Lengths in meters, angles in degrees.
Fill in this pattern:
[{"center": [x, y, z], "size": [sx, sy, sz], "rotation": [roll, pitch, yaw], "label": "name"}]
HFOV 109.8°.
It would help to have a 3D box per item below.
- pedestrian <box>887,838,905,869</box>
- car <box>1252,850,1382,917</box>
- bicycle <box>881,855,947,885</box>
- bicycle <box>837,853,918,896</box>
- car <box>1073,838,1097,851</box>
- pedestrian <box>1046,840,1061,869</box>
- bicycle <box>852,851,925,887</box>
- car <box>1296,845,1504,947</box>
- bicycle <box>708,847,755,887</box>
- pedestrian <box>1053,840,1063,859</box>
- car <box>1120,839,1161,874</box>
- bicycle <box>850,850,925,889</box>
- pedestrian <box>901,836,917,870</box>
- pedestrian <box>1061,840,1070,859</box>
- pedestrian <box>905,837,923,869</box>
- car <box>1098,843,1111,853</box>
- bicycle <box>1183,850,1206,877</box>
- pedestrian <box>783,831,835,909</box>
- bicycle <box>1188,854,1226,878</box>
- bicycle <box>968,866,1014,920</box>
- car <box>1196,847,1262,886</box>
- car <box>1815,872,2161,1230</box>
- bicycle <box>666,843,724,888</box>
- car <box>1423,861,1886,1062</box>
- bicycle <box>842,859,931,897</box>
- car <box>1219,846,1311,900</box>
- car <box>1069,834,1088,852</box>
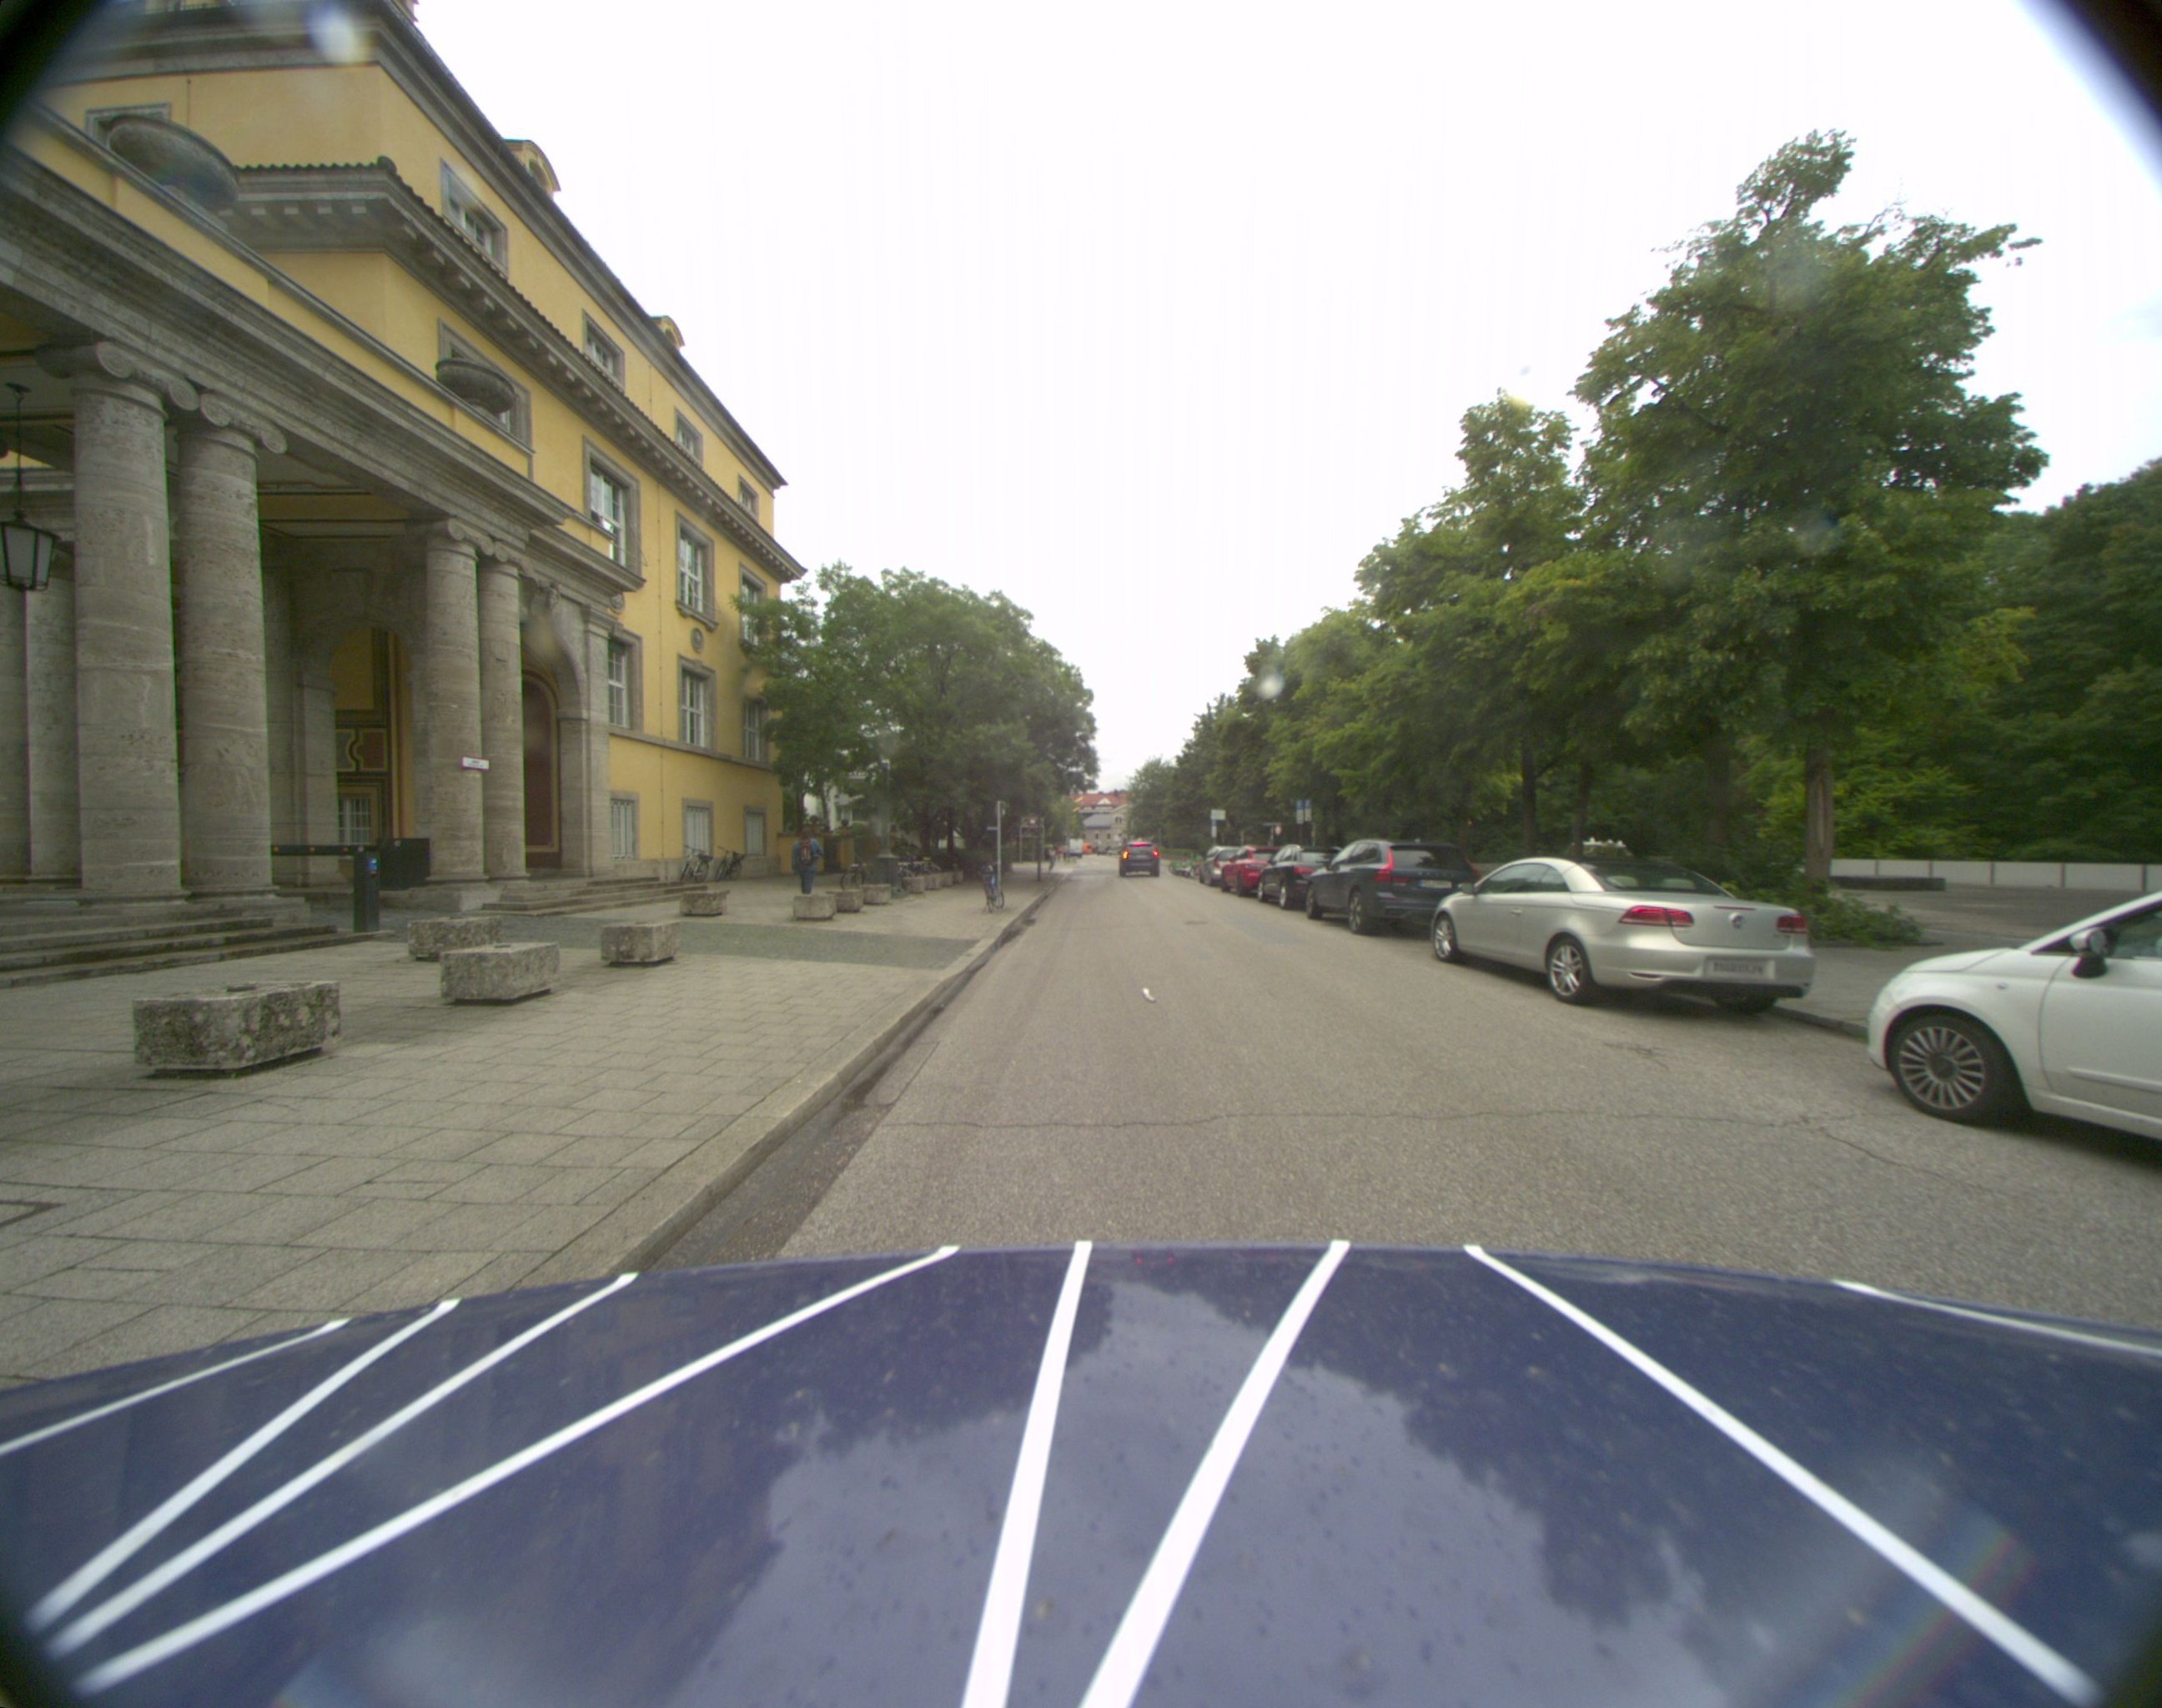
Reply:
[{"center": [-10.373, -0.033, 42.691], "size": [0.741, 1.734, 0.841], "rotation": [3, 2, 1], "label": "pedestrian"}, {"center": [5.822, 0.647, 19.384], "size": [1.998, 1.452, 4.647], "rotation": [0, 1, 2], "label": "car"}, {"center": [-6.152, 0.579, 27.980], "size": [2.261, 1.005, 0.602], "rotation": [2, 1, 3], "label": "bicycle"}, {"center": [-6.158, 0.627, 23.105], "size": [2.265, 1.088, 0.601], "rotation": [5, 1, -10], "label": "bicycle"}, {"center": [0.867, -2.142, 169.242], "size": [4.973, 2.521, 2.577], "rotation": [-1, 2, 44], "label": "car"}, {"center": [-1.680, 0.028, 46.237], "size": [0.798, 1.722, 0.660], "rotation": [-3, 2, 0], "label": "pedestrian"}, {"center": [-6.523, 0.499, 25.829], "size": [2.265, 1.018, 0.601], "rotation": [5, 1, -10], "label": "bicycle"}, {"center": [5.589, 0.618, 14.058], "size": [1.998, 1.574, 4.521], "rotation": [0, 1, 1], "label": "car"}, {"center": [-11.953, 0.403, 26.074], "size": [0.601, 1.299, 2.164], "rotation": [0, 1, 1], "label": "bicycle"}, {"center": [-2.334, -0.437, 76.932], "size": [0.777, 1.855, 0.996], "rotation": [-3, 2, -7], "label": "pedestrian"}, {"center": [3.067, 0.094, 39.353], "size": [1.964, 1.672, 4.912], "rotation": [2, 1, 4], "label": "car"}, {"center": [-6.317, 0.506, 24.913], "size": [2.265, 1.053, 0.601], "rotation": [5, 1, -10], "label": "bicycle"}, {"center": [-9.657, -0.066, 42.671], "size": [0.659, 1.855, 0.820], "rotation": [3, 2, 1], "label": "pedestrian"}, {"center": [-1.551, -0.465, 77.128], "size": [0.777, 1.855, 0.997], "rotation": [-3, 2, -5], "label": "pedestrian"}, {"center": [-10.049, -0.078, 45.679], "size": [0.782, 1.855, 1.035], "rotation": [3, 2, 1], "label": "pedestrian"}, {"center": [4.641, -1.261, 150.722], "size": [2.222, 1.840, 4.730], "rotation": [-3, 2, 1], "label": "car"}, {"center": [5.666, 0.480, 37.797], "size": [0.574, 1.275, 1.421], "rotation": [-1, 1, 34], "label": "bicycle"}, {"center": [-6.212, 0.345, 17.391], "size": [0.790, 1.736, 1.055], "rotation": [0, 1, 1], "label": "pedestrian"}, {"center": [5.995, 0.578, 36.266], "size": [1.700, 1.101, 0.598], "rotation": [-1, 2, -7], "label": "bicycle"}, {"center": [-2.097, 0.871, 17.922], "size": [0.762, 1.094, 2.263], "rotation": [2, 1, 0], "label": "bicycle"}, {"center": [5.939, 0.452, 31.015], "size": [1.998, 1.453, 4.364], "rotation": [0, 1, 2], "label": "car"}, {"center": [5.376, 0.889, 2.970], "size": [1.547, 1.462, 3.552], "rotation": [1, 1, 1], "label": "car"}, {"center": [-11.999, 0.327, 23.715], "size": [0.601, 1.299, 2.264], "rotation": [0, 1, 1], "label": "bicycle"}, {"center": [5.411, 0.855, 8.042], "size": [1.762, 1.392, 4.217], "rotation": [3, 1, 2], "label": "car"}, {"center": [-5.590, 0.693, 21.937], "size": [2.370, 1.000, 0.677], "rotation": [2, 1, -8], "label": "bicycle"}, {"center": [5.769, 0.541, 24.384], "size": [1.998, 1.535, 4.364], "rotation": [0, 1, 2], "label": "car"}, {"center": [-0.387, -1.534, 106.395], "size": [2.236, 2.289, 4.728], "rotation": [-3, 2, -4], "label": "car"}]
